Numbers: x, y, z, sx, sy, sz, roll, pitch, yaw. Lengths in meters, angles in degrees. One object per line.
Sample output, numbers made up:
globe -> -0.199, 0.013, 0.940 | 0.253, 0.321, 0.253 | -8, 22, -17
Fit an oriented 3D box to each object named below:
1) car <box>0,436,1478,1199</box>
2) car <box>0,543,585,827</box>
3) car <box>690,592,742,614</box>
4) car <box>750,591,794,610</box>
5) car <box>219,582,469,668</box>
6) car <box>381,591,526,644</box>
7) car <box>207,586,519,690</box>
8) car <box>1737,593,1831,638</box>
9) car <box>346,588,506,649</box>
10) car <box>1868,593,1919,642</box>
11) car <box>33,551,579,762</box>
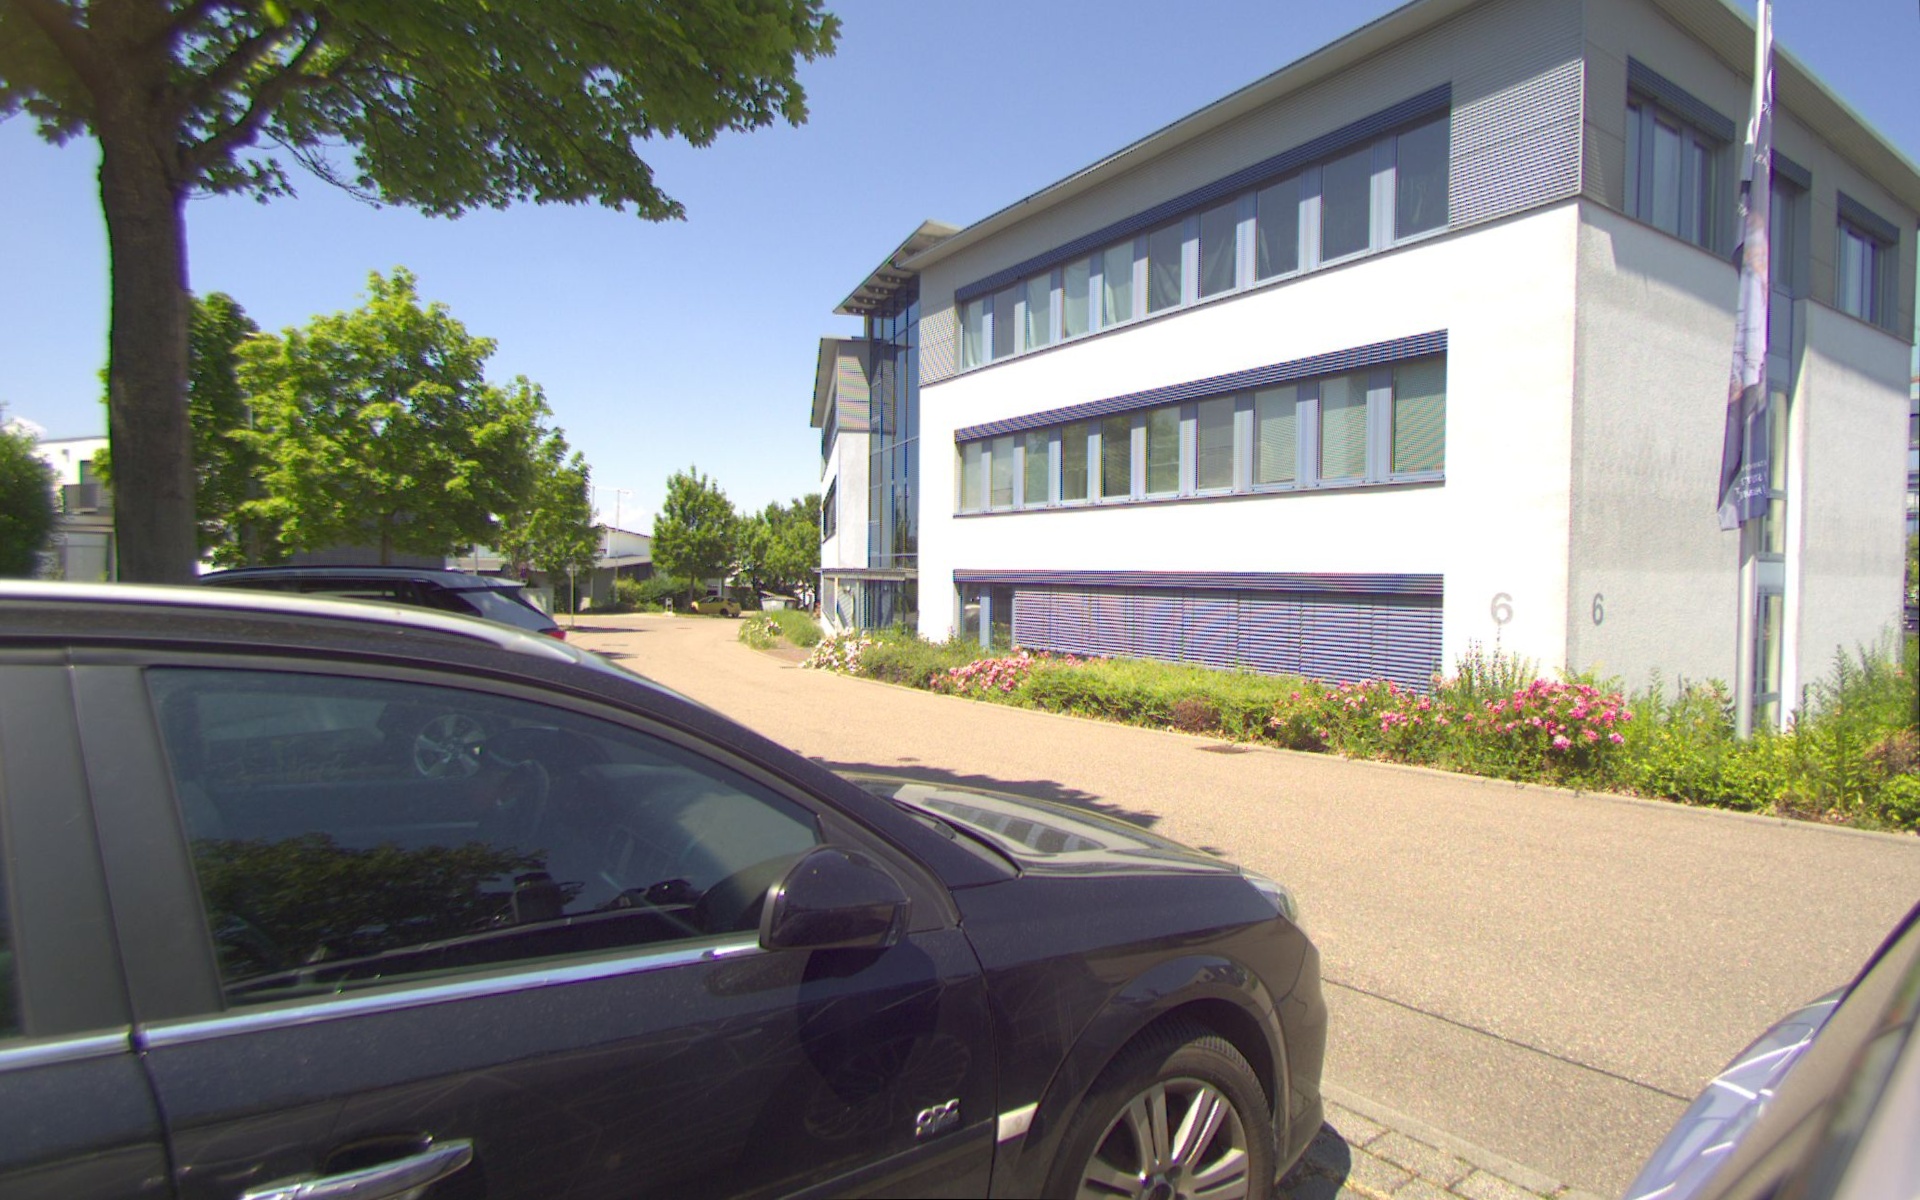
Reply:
car -> -1.044, 0.632, 1.845 | 4.480, 1.569, 1.763 | 0, 0, -37
car -> -5.177, 0.513, 7.369 | 4.249, 1.664, 1.857 | 1, -1, -35
car -> -17.149, 0.203, 71.154 | 3.172, 1.460, 1.580 | 0, 0, 18
car -> -15.281, 0.036, 82.352 | 3.172, 1.460, 1.580 | 0, 0, 18
car -> -12.419, 0.507, 20.699 | 4.090, 1.625, 1.664 | 1, -1, -21
car -> -14.686, 0.512, 29.535 | 3.514, 1.461, 1.639 | 1, -1, -17
car -> -9.366, 0.578, 16.230 | 4.092, 1.505, 1.663 | 1, -1, -27
car -> 30.580, 0.527, 37.544 | 3.925, 1.565, 1.788 | -1, 0, -36
car -> -14.243, 0.505, 27.185 | 3.514, 1.545, 1.639 | 1, -1, -17
car -> 32.684, 0.548, 34.516 | 3.925, 1.565, 1.788 | -1, 0, -36
car -> -6.082, 0.477, 9.875 | 4.122, 1.664, 1.661 | 1, -1, -35
